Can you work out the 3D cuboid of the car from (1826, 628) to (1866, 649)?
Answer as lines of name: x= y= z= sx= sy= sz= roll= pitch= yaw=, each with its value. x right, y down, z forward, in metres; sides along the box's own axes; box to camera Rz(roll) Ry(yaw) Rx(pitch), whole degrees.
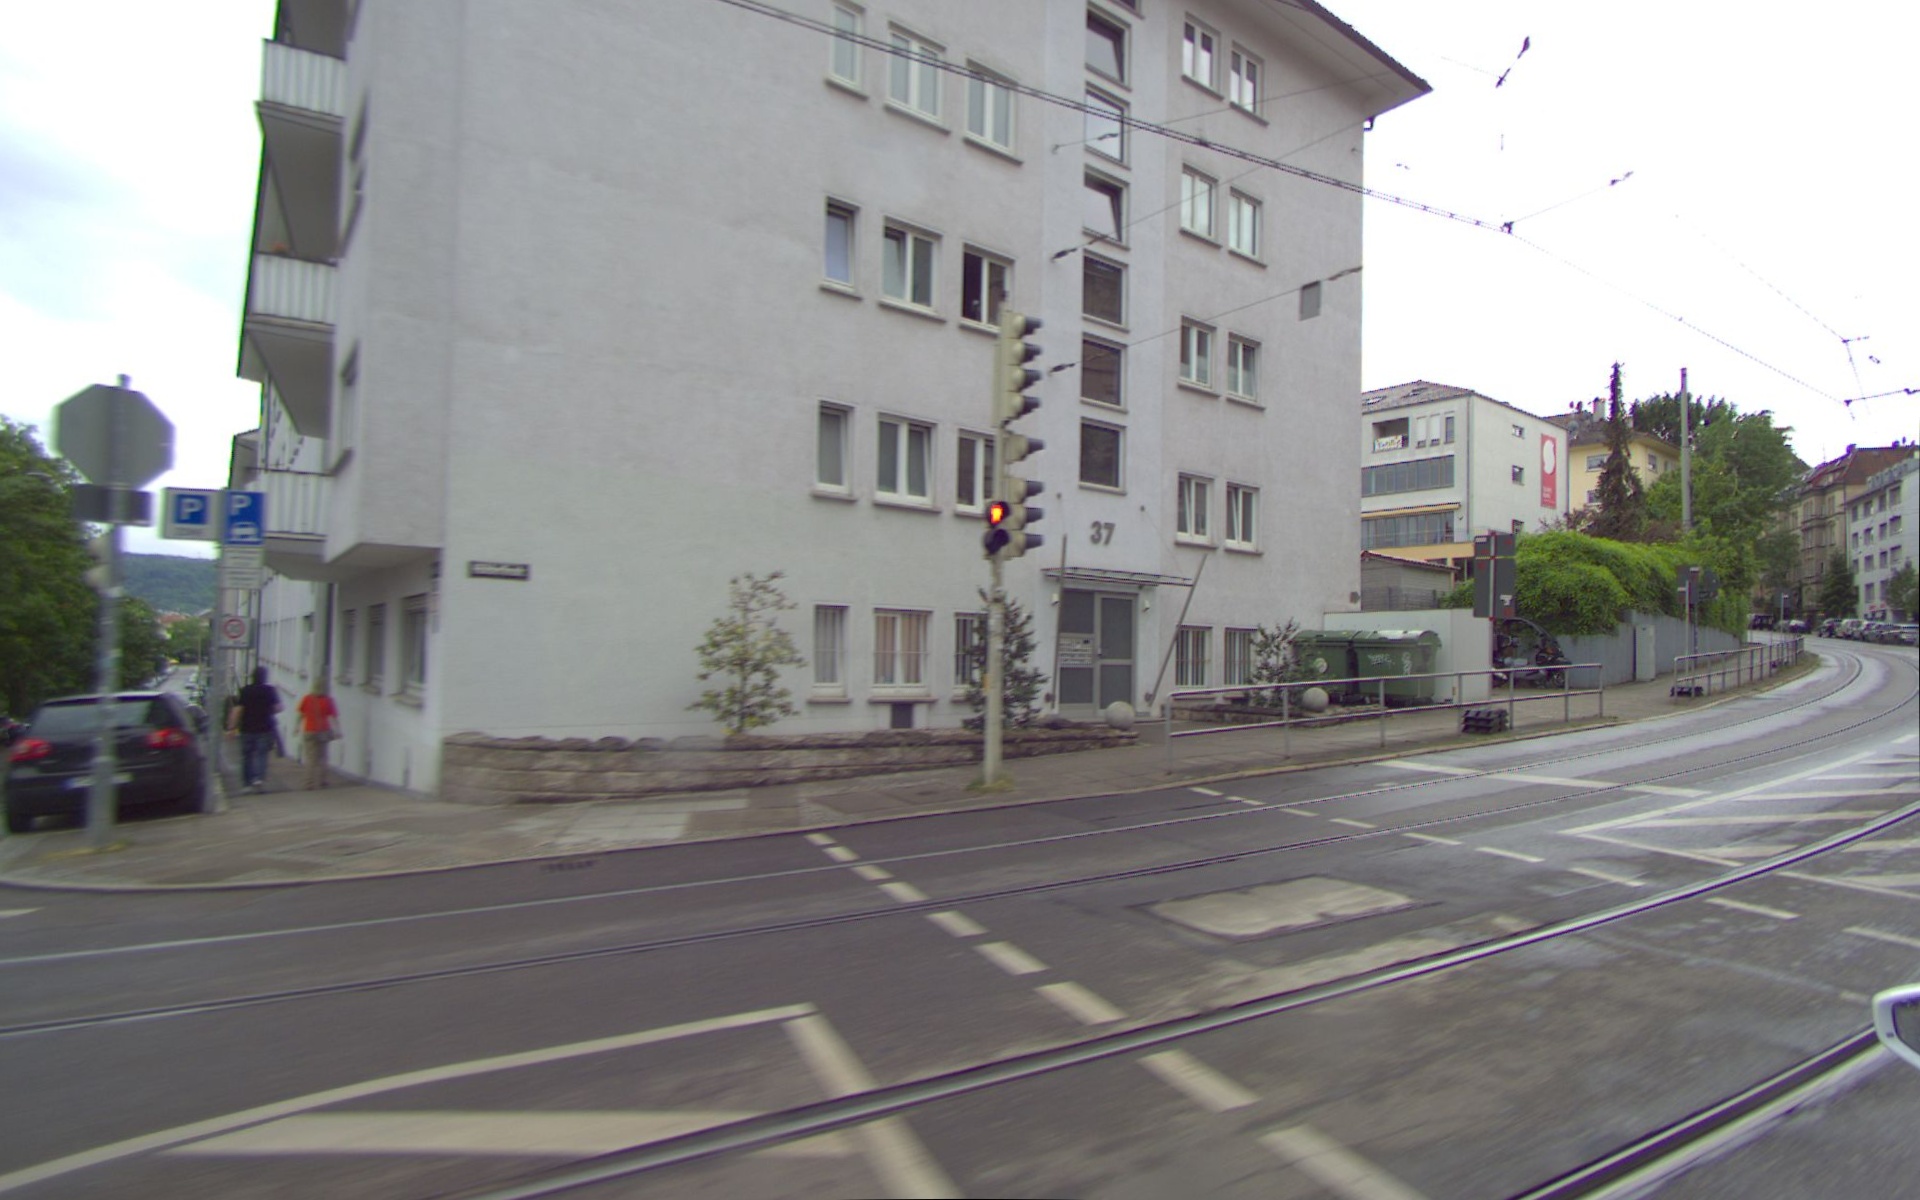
car: x=80.604 y=3.481 z=91.399 sx=1.740 sy=1.706 sz=4.242 roll=2 pitch=0 yaw=28

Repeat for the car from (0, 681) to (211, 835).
car: x=-10.620 y=1.827 z=12.690 sx=1.838 sy=1.473 sz=4.209 roll=-1 pitch=-3 yaw=-37

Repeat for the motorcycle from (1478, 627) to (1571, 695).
motorcycle: x=14.191 y=1.531 z=25.316 sx=0.592 sy=1.621 sz=1.905 roll=-1 pitch=-2 yaw=-41

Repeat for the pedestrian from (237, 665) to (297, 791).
pedestrian: x=-10.055 y=1.822 z=14.563 sx=0.667 sy=1.722 sz=0.737 roll=-1 pitch=-2 yaw=-38

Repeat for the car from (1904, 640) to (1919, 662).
car: x=66.006 y=3.451 z=68.340 sx=1.737 sy=1.453 sz=4.628 roll=-1 pitch=-2 yaw=32

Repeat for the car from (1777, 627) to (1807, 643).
car: x=89.403 y=3.769 z=108.008 sx=1.740 sy=1.538 sz=4.132 roll=2 pitch=0 yaw=29

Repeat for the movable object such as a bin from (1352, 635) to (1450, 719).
movable object such as a bin: x=8.305 y=1.423 z=18.910 sx=1.278 sy=1.481 sz=1.177 roll=0 pitch=-2 yaw=-37

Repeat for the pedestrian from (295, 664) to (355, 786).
pedestrian: x=-9.493 y=1.834 z=15.013 sx=0.667 sy=1.722 sz=0.737 roll=-1 pitch=-2 yaw=-38

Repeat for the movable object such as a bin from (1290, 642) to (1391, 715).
movable object such as a bin: x=7.552 y=1.536 z=19.956 sx=1.313 sy=1.354 sz=1.359 roll=0 pitch=-2 yaw=-38

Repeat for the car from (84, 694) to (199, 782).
car: x=-16.369 y=2.672 z=20.100 sx=1.607 sy=1.459 sz=3.707 roll=4 pitch=-5 yaw=-40

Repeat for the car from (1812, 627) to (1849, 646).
car: x=82.970 y=3.488 z=95.794 sx=1.740 sy=1.706 sz=4.241 roll=2 pitch=0 yaw=29

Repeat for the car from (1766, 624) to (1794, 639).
car: x=91.658 y=3.491 z=112.290 sx=1.625 sy=1.556 sz=3.884 roll=-3 pitch=-2 yaw=27

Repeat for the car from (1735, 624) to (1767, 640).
car: x=95.458 y=3.826 z=121.225 sx=1.996 sy=1.849 sz=4.364 roll=2 pitch=0 yaw=25

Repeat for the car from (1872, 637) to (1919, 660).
car: x=71.461 y=3.673 z=76.579 sx=1.739 sy=1.636 sz=4.244 roll=0 pitch=-2 yaw=26
